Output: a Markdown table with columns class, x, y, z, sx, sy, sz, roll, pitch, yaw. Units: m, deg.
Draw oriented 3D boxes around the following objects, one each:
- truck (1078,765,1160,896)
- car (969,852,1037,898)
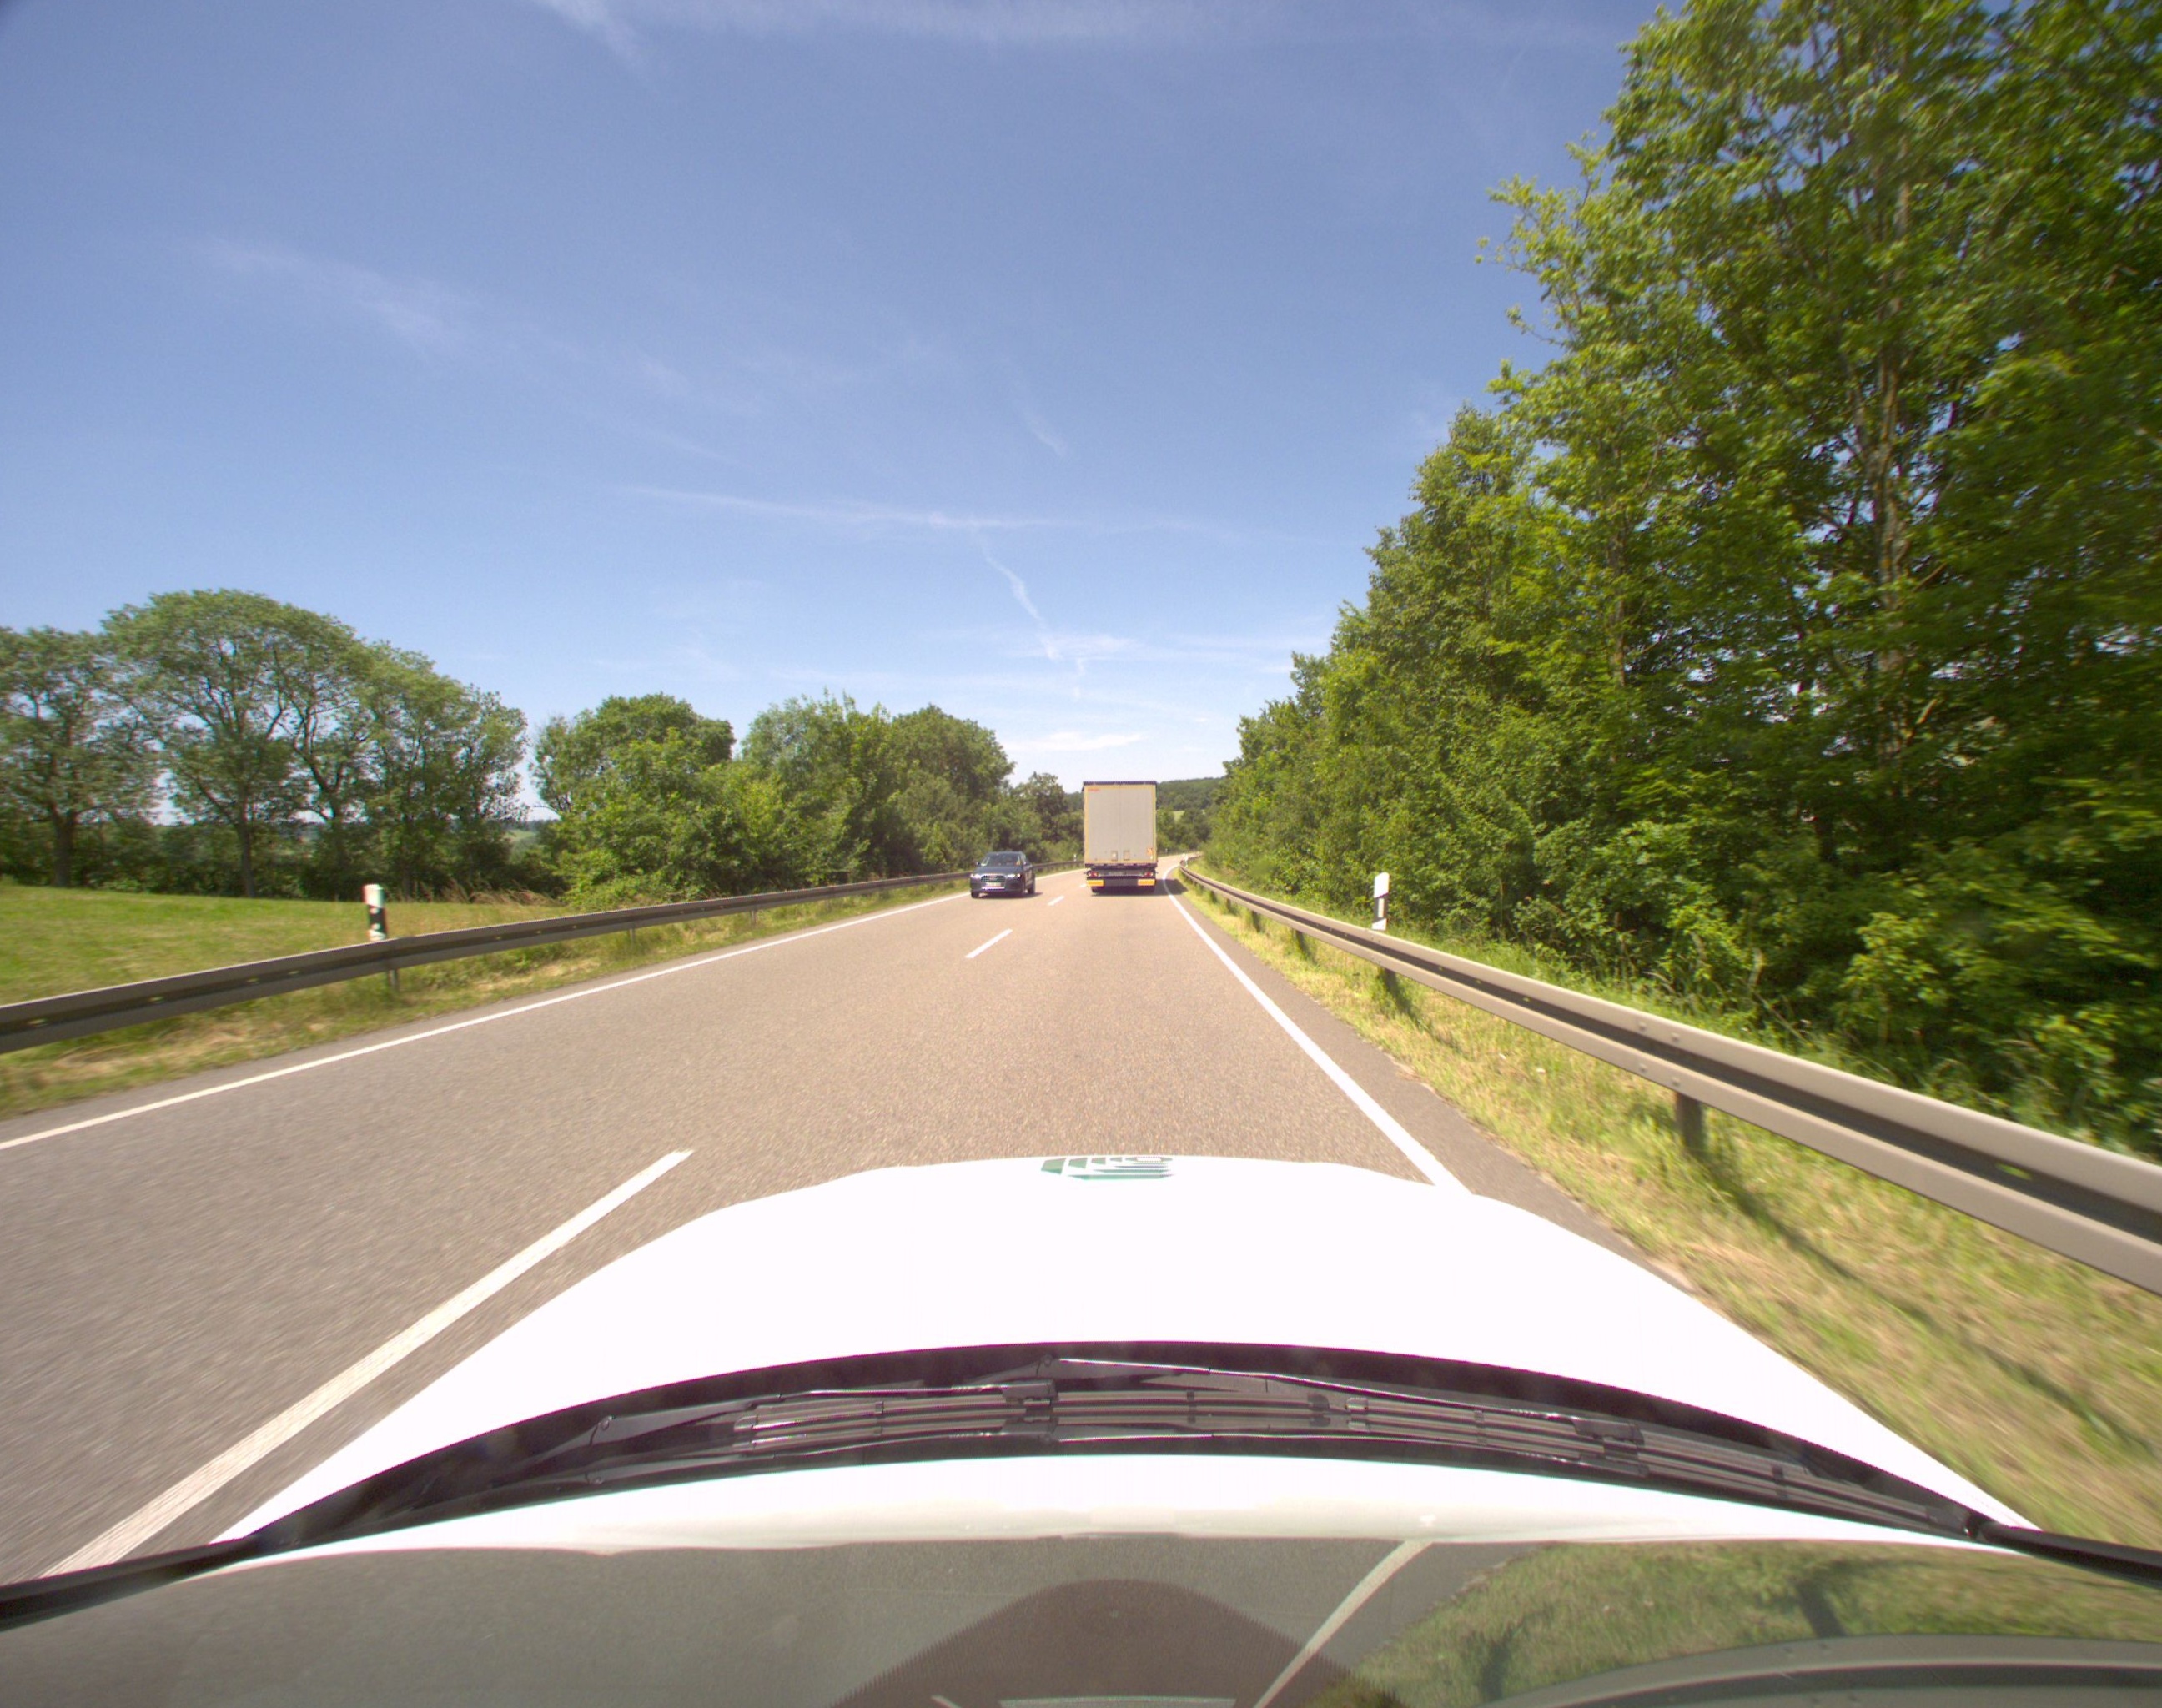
| class | x | y | z | sx | sy | sz | roll | pitch | yaw |
| --- | --- | --- | --- | --- | --- | --- | --- | --- | --- |
| truck | 1.755 | -0.832 | 34.018 | 2.804 | 4.532 | 11.782 | 0 | 0 | 4 |
| car | -2.688 | 0.693 | 28.899 | 1.856 | 1.527 | 3.893 | 0 | 0 | 2 |
